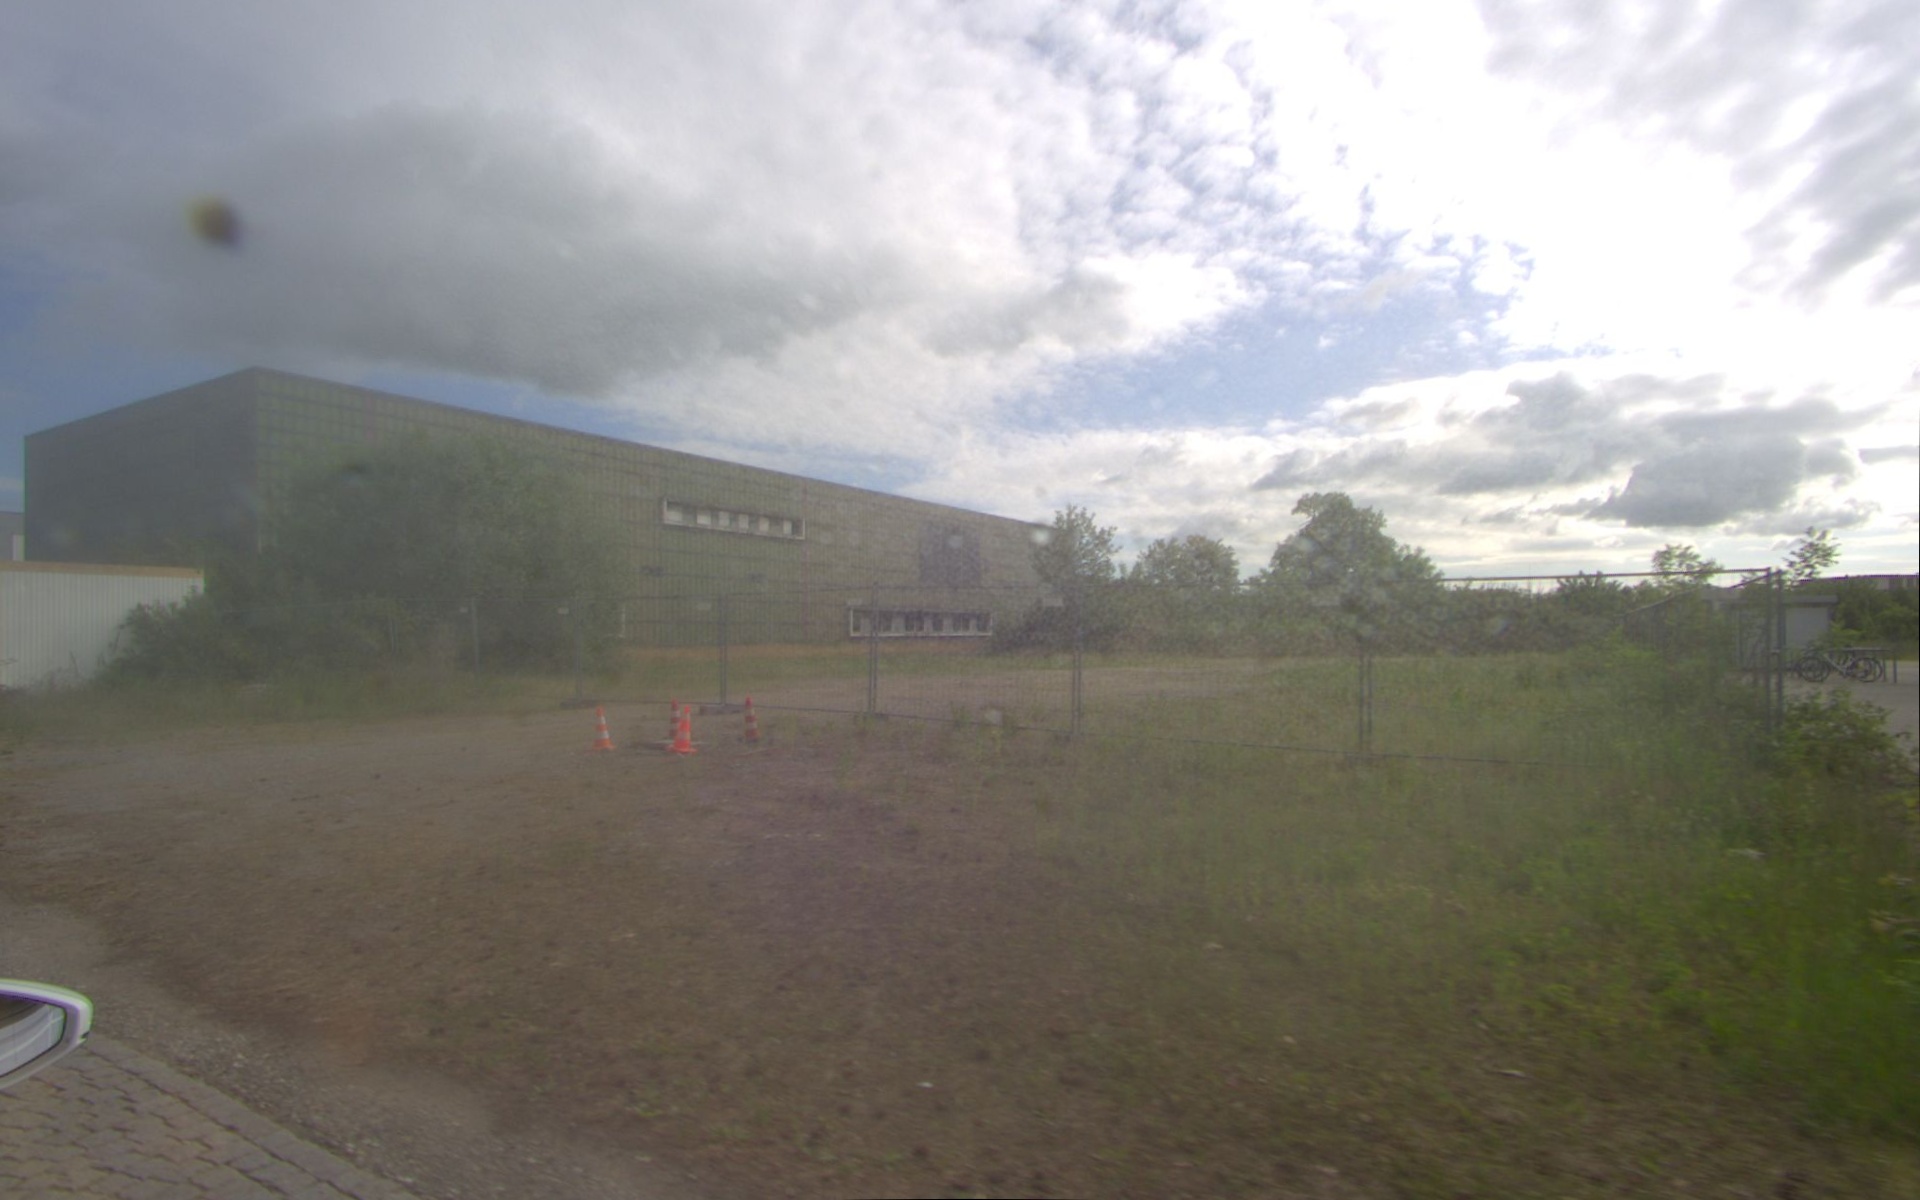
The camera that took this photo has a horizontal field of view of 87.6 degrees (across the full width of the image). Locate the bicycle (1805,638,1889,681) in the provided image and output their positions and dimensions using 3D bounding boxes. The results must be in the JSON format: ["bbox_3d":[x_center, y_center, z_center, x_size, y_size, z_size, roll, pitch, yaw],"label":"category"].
[{"bbox_3d":[23.290,1.546,26.315,1.638,1.099,0.508,-1,-2,42],"label":"bicycle"}]

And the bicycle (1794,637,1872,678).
[{"bbox_3d":[24.552,1.605,28.191,1.638,1.099,0.508,-1,-2,42],"label":"bicycle"}]
